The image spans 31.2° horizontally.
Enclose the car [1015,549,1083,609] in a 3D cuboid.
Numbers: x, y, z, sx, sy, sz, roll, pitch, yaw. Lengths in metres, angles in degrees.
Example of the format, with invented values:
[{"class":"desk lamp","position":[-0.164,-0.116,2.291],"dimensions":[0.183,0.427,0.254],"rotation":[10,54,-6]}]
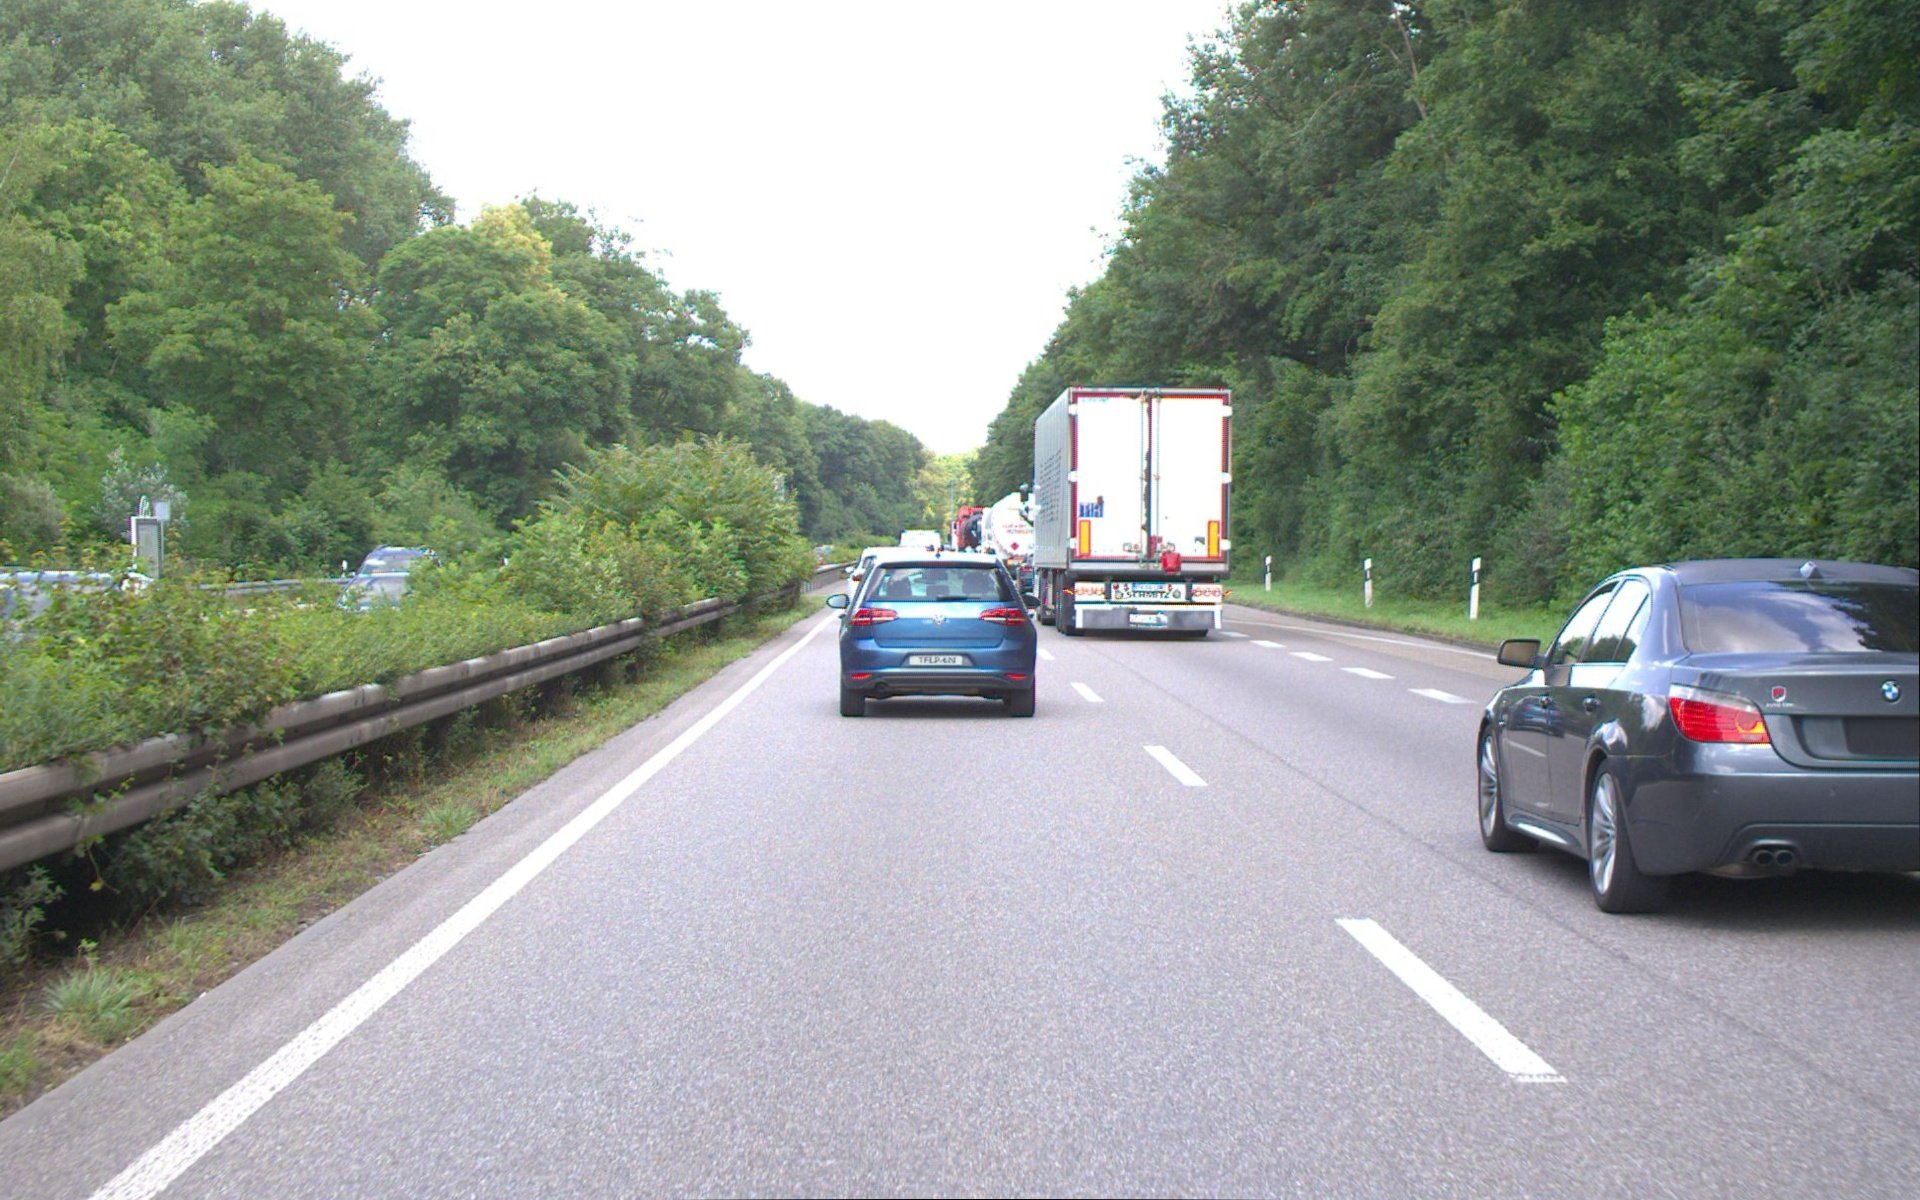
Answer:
[{"class":"car","position":[2.628,-0.652,102.650],"dimensions":[1.888,1.723,4.000],"rotation":[-1,1,0]}]

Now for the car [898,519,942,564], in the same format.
[{"class":"car","position":[-2.042,-2.980,174.552],"dimensions":[1.993,2.247,4.443],"rotation":[-1,1,-3]}]

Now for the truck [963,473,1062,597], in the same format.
[{"class":"truck","position":[2.066,-2.364,129.122],"dimensions":[3.232,4.371,12.969],"rotation":[1,0,3]}]

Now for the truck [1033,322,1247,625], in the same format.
[{"class":"truck","position":[2.927,-2.084,59.137],"dimensions":[3.242,4.700,11.007],"rotation":[-1,1,1]}]

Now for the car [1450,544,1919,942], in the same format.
[{"class":"car","position":[3.467,0.502,15.283],"dimensions":[1.774,1.470,4.881],"rotation":[1,1,-1]}]

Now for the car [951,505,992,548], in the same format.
[{"class":"car","position":[0.640,-4.064,190.437],"dimensions":[1.993,2.319,4.443],"rotation":[-1,1,-3]}]

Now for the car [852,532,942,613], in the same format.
[{"class":"car","position":[-1.184,-0.542,66.261],"dimensions":[1.665,1.495,4.152],"rotation":[1,1,0]}]

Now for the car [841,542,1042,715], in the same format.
[{"class":"car","position":[-0.199,0.212,31.493],"dimensions":[1.705,1.465,4.000],"rotation":[1,1,-1]}]
